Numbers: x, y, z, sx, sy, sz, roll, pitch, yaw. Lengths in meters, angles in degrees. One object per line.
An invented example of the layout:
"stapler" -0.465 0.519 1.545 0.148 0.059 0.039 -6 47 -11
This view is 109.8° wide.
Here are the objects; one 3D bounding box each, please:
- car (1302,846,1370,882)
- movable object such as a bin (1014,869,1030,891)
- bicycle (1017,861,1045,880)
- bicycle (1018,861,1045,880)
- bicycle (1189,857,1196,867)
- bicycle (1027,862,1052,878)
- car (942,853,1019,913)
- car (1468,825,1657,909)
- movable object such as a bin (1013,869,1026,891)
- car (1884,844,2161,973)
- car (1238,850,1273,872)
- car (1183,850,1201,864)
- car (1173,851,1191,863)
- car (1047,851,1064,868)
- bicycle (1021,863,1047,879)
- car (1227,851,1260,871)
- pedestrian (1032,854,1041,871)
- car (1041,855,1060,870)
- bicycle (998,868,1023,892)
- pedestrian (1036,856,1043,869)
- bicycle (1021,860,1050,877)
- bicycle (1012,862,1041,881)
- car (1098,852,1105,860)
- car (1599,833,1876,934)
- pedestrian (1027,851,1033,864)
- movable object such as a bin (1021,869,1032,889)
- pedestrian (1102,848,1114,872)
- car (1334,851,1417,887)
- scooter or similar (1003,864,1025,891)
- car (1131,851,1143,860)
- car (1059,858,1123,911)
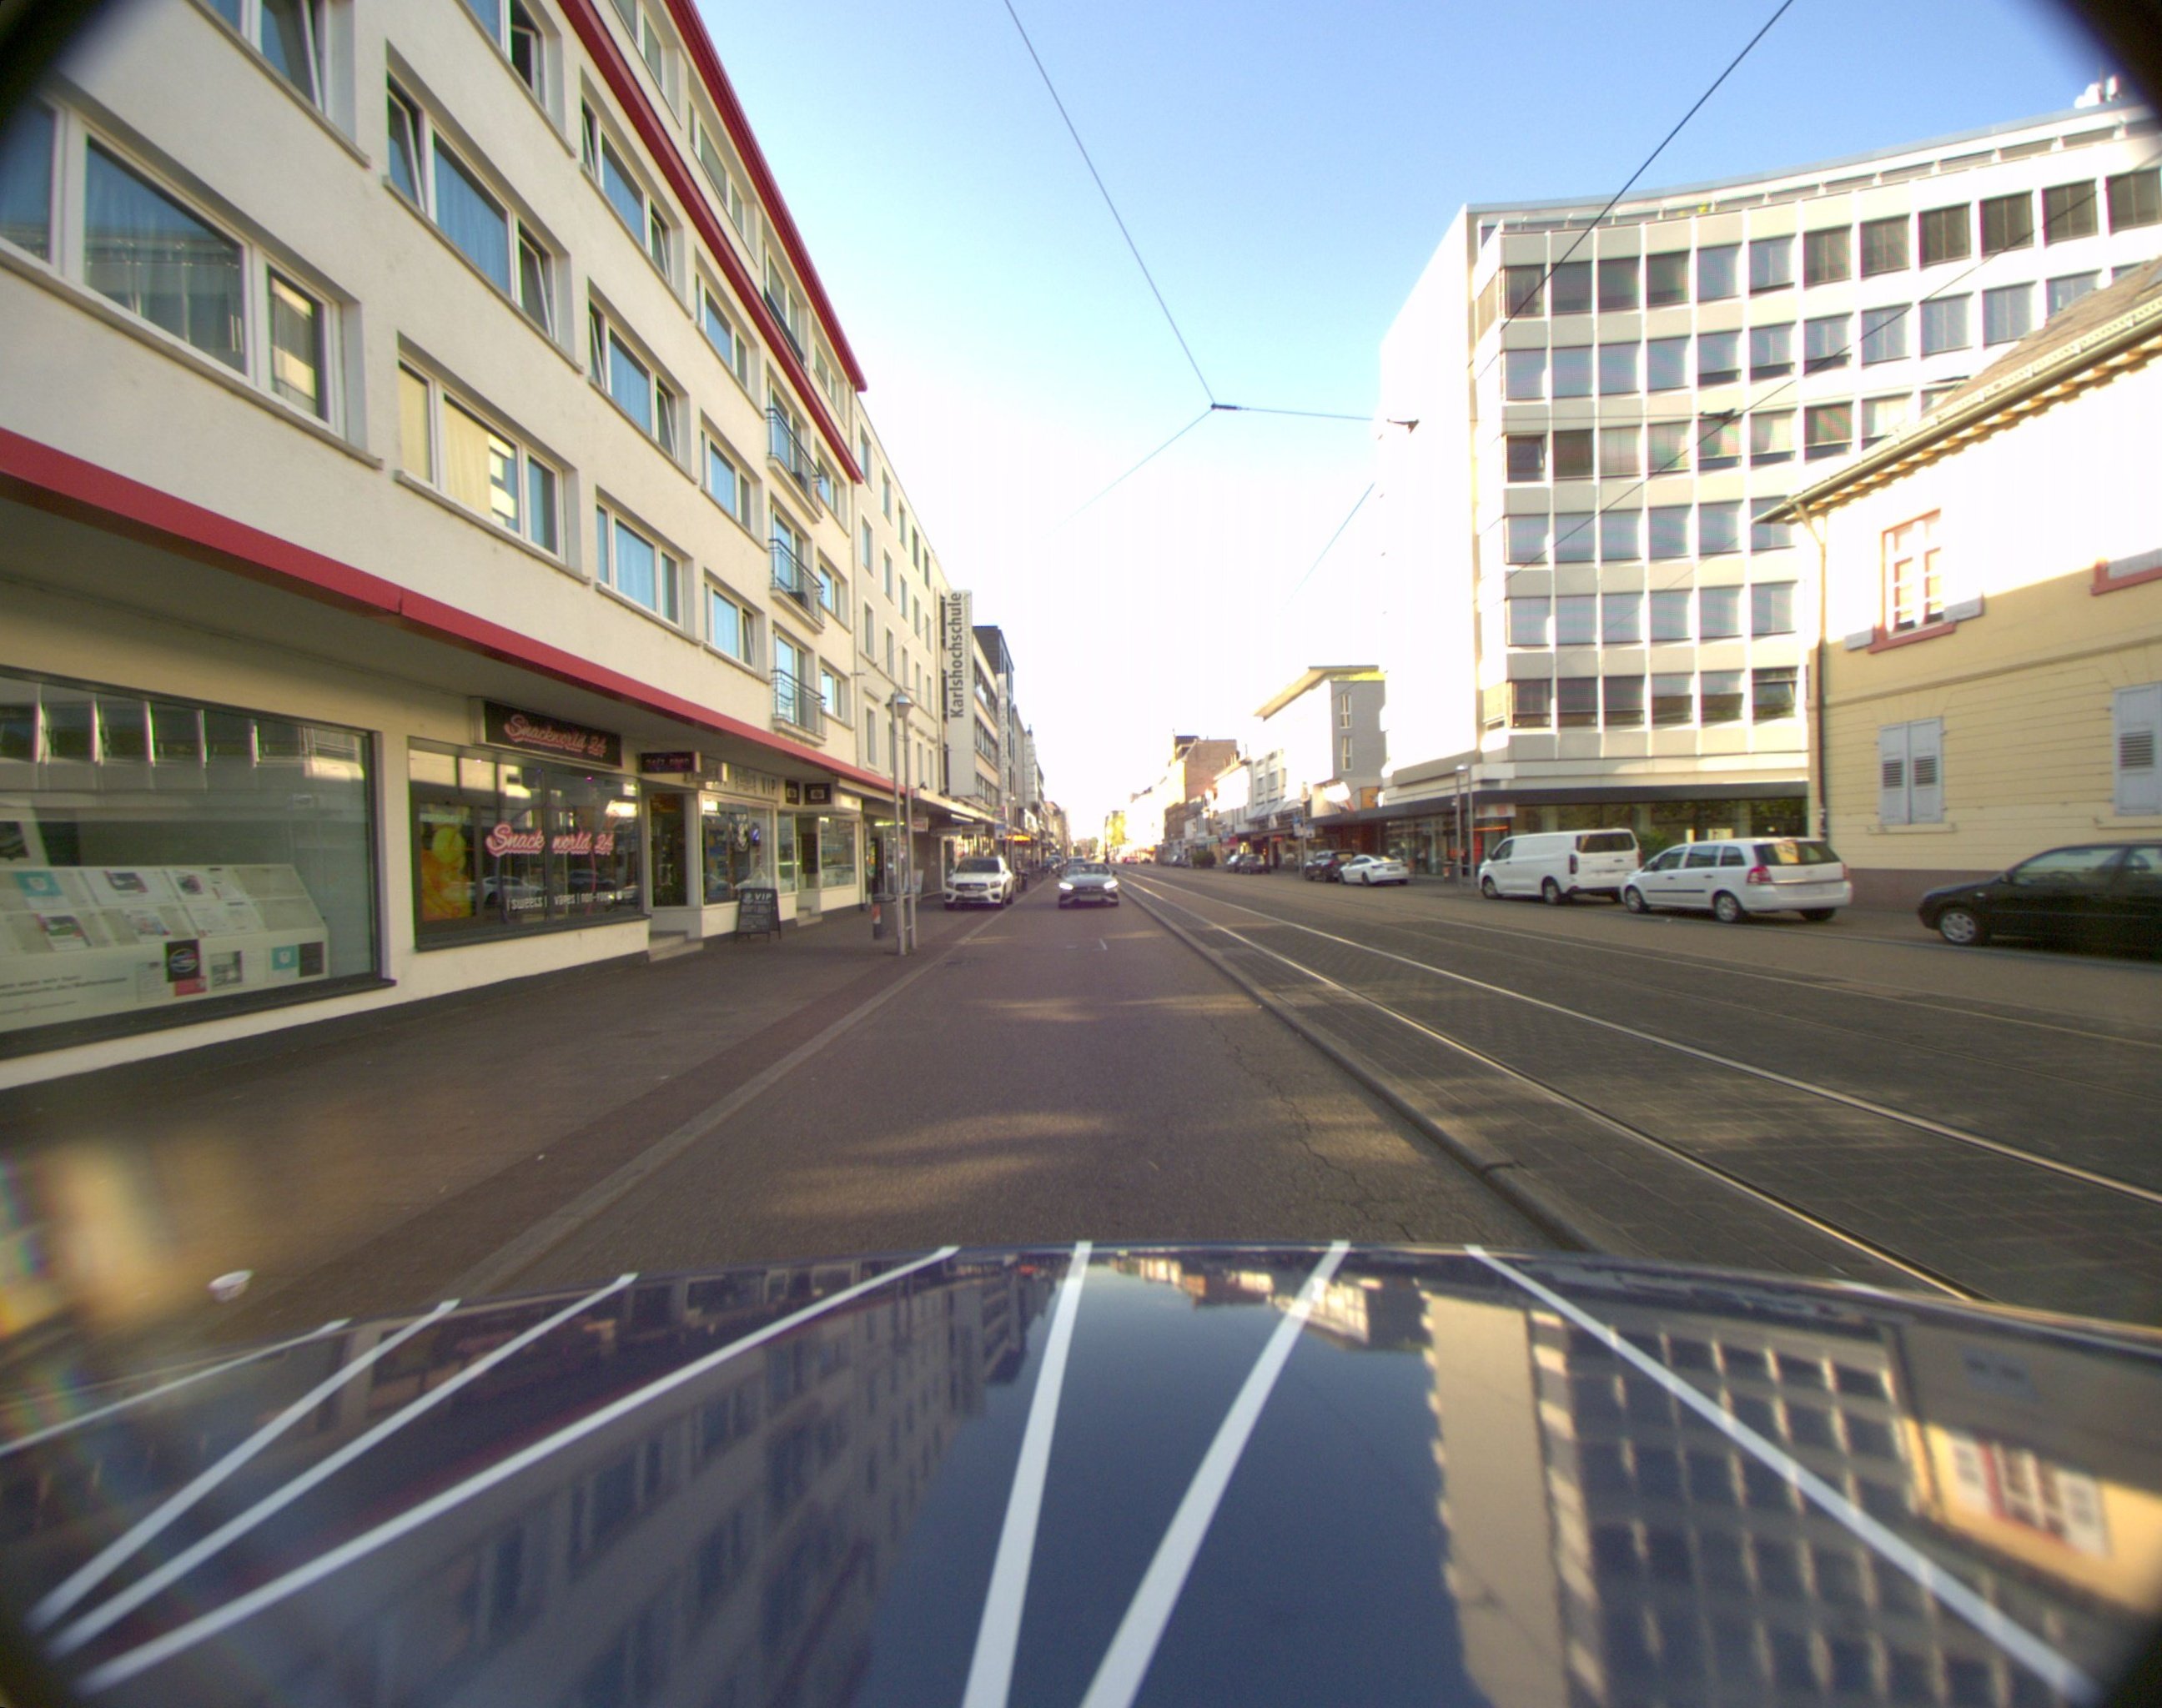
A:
"car" 13.346 0.493 40.118 1.983 1.669 4.654 -4 1 1
"movable object such as a bin" -2.816 1.226 36.317 0.688 1.008 0.508 -1 1 3
"bicycle" -3.266 1.075 50.123 1.792 1.210 0.669 -1 1 -1
"bicycle" -3.306 1.107 50.922 1.792 1.210 0.587 -1 1 -1
"bicycle" 12.588 0.923 85.698 0.519 1.084 1.716 -4 1 0
"bicycle" -2.948 1.124 54.024 1.778 1.124 0.478 -1 1 -5
"car" -3.169 0.850 24.858 1.854 1.714 5.192 0 1 0
"car" 13.276 0.309 21.445 1.999 1.964 5.095 -4 1 0
"movable object such as a bin" -2.873 1.199 35.620 0.523 1.008 0.671 -1 1 3
"car" 13.124 0.613 9.769 1.618 1.392 3.719 -4 1 0
"car" 13.302 0.520 57.988 1.605 1.514 3.588 -4 1 -2
"car" 13.523 0.308 92.710 1.701 1.594 2.891 -3 1 0
"car" 13.568 0.430 102.279 1.822 1.505 4.762 -2 1 0
"car" -2.902 0.602 86.190 1.821 1.849 4.548 0 1 -3
"bicycle" -3.237 1.154 52.332 1.778 1.026 0.597 -1 1 -1
"car" 13.608 0.566 63.949 1.741 1.514 4.851 -4 1 1
"pedestrian" -3.884 0.768 66.236 0.584 1.485 0.523 0 1 -36
"car" -3.171 0.827 79.613 1.726 1.476 4.415 0 1 0
"bicycle" -3.218 1.167 34.663 1.134 1.073 0.320 0 1 -1
"pedestrian" -4.717 0.930 86.927 0.697 1.499 0.814 -1 1 0
"bicycle" -3.314 1.055 55.439 2.043 1.267 0.524 -1 1 -10
"bicycle" -3.516 1.125 48.716 1.792 1.153 0.669 -1 1 -1
"car" 5.627 0.660 208.694 1.998 2.002 4.000 -4 1 1
"car" 13.223 0.501 15.793 1.812 1.676 4.649 -4 1 3
"pedestrian" -5.977 0.420 88.883 0.577 1.431 0.731 0 1 0
"movable object such as a bin" -2.649 1.227 36.882 0.489 0.952 0.458 0 1 3
"pedestrian" 2.077 0.455 58.501 0.806 1.827 0.746 0 1 -1
"car" 13.367 0.626 34.818 1.893 1.413 4.655 -4 1 -1
"scooter or similar" -3.081 1.082 35.009 0.995 1.224 0.320 0 1 -1
"car" 10.525 0.183 143.049 1.802 1.625 3.675 -1 1 0
"car" 0.275 0.898 24.802 1.858 1.463 4.785 -1 1 0
